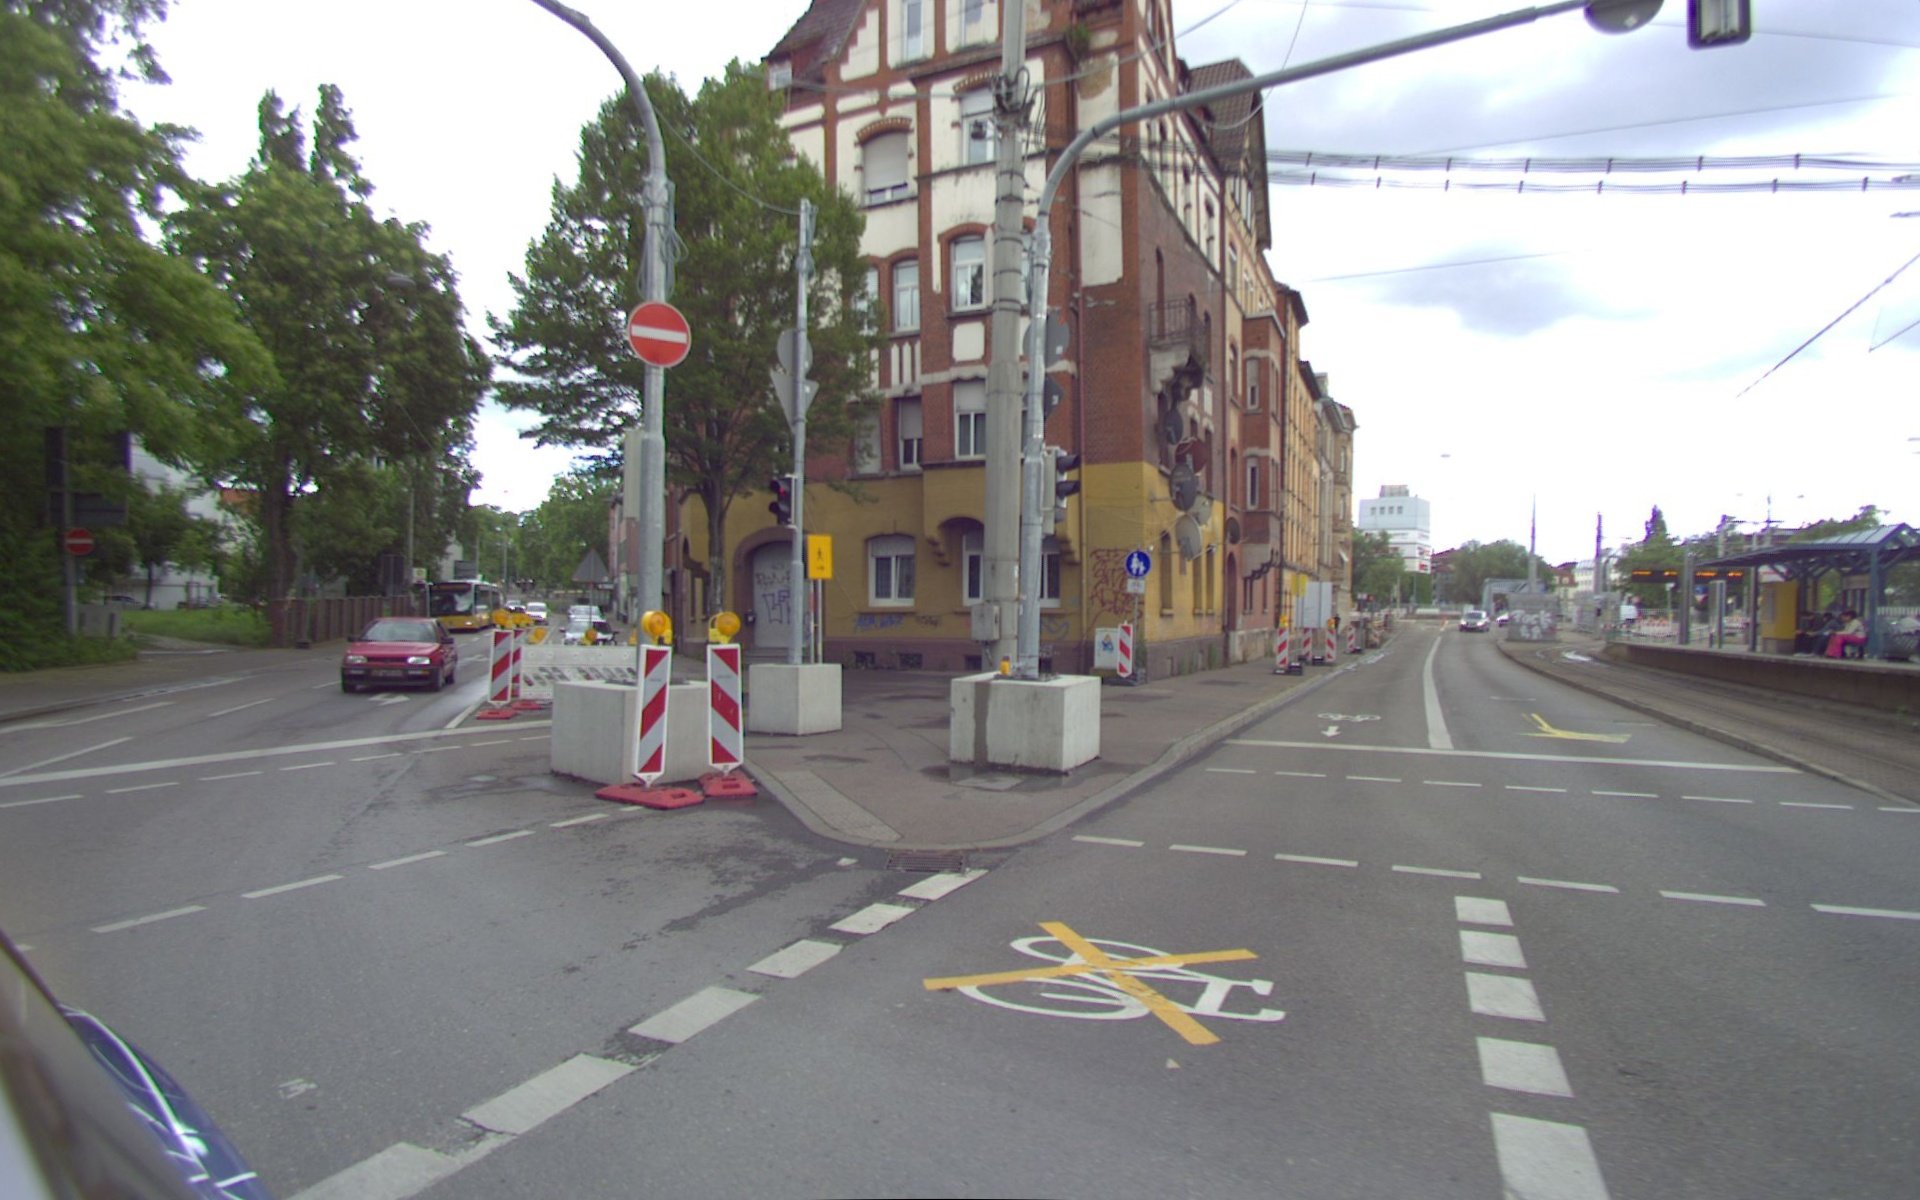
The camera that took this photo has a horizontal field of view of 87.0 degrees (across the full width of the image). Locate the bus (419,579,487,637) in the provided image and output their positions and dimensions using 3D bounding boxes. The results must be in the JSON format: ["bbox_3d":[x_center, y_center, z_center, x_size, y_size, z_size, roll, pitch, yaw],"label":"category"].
[{"bbox_3d":[-30.045,0.446,60.262,2.634,3.162,9.247,-1,0,-21],"label":"bus"}]

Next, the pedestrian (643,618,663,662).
[{"bbox_3d":[-11.450,1.484,37.710,0.650,1.621,0.634,-1,-1,-20],"label":"pedestrian"}]

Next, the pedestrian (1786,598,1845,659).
[{"bbox_3d":[20.286,0.661,24.018,0.817,1.383,0.927,2,1,26],"label":"pedestrian"}]

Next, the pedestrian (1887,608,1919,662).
[{"bbox_3d":[20.708,0.760,21.867,0.817,1.131,0.646,2,1,26],"label":"pedestrian"}]

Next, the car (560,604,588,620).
[{"bbox_3d":[-38.895,1.227,101.825,1.803,1.466,4.936,1,0,-30],"label":"car"}]

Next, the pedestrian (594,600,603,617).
[{"bbox_3d":[-37.034,0.892,103.649,0.750,1.757,0.988,-1,-1,-24],"label":"pedestrian"}]

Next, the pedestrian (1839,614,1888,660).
[{"bbox_3d":[19.832,0.806,22.231,0.659,0.986,0.509,2,-1,25],"label":"pedestrian"}]

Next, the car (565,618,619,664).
[{"bbox_3d":[-12.996,1.434,35.781,1.700,1.497,4.404,0,-2,-20],"label":"car"}]

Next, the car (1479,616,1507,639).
[{"bbox_3d":[46.984,2.403,89.264,1.989,1.674,3.966,2,3,25],"label":"car"}]

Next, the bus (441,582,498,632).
[{"bbox_3d":[-33.451,0.452,69.296,2.625,3.160,10.072,-1,0,-21],"label":"bus"}]

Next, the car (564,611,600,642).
[{"bbox_3d":[-22.585,1.554,60.436,1.926,1.747,4.789,1,-1,-21],"label":"car"}]

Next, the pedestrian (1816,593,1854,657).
[{"bbox_3d":[22.922,0.650,26.519,0.586,1.653,0.483,1,1,-19],"label":"pedestrian"}]

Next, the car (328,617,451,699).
[{"bbox_3d":[-11.230,1.097,20.166,1.819,1.433,4.187,2,-2,-26],"label":"car"}]

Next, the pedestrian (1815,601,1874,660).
[{"bbox_3d":[20.076,0.678,22.990,0.805,1.279,0.767,2,1,26],"label":"pedestrian"}]

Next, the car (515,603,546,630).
[{"bbox_3d":[-34.403,1.298,81.173,2.038,1.798,4.473,-1,4,-20],"label":"car"}]

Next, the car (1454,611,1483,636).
[{"bbox_3d":[40.801,1.872,81.189,1.991,1.674,3.963,2,3,28],"label":"car"}]
